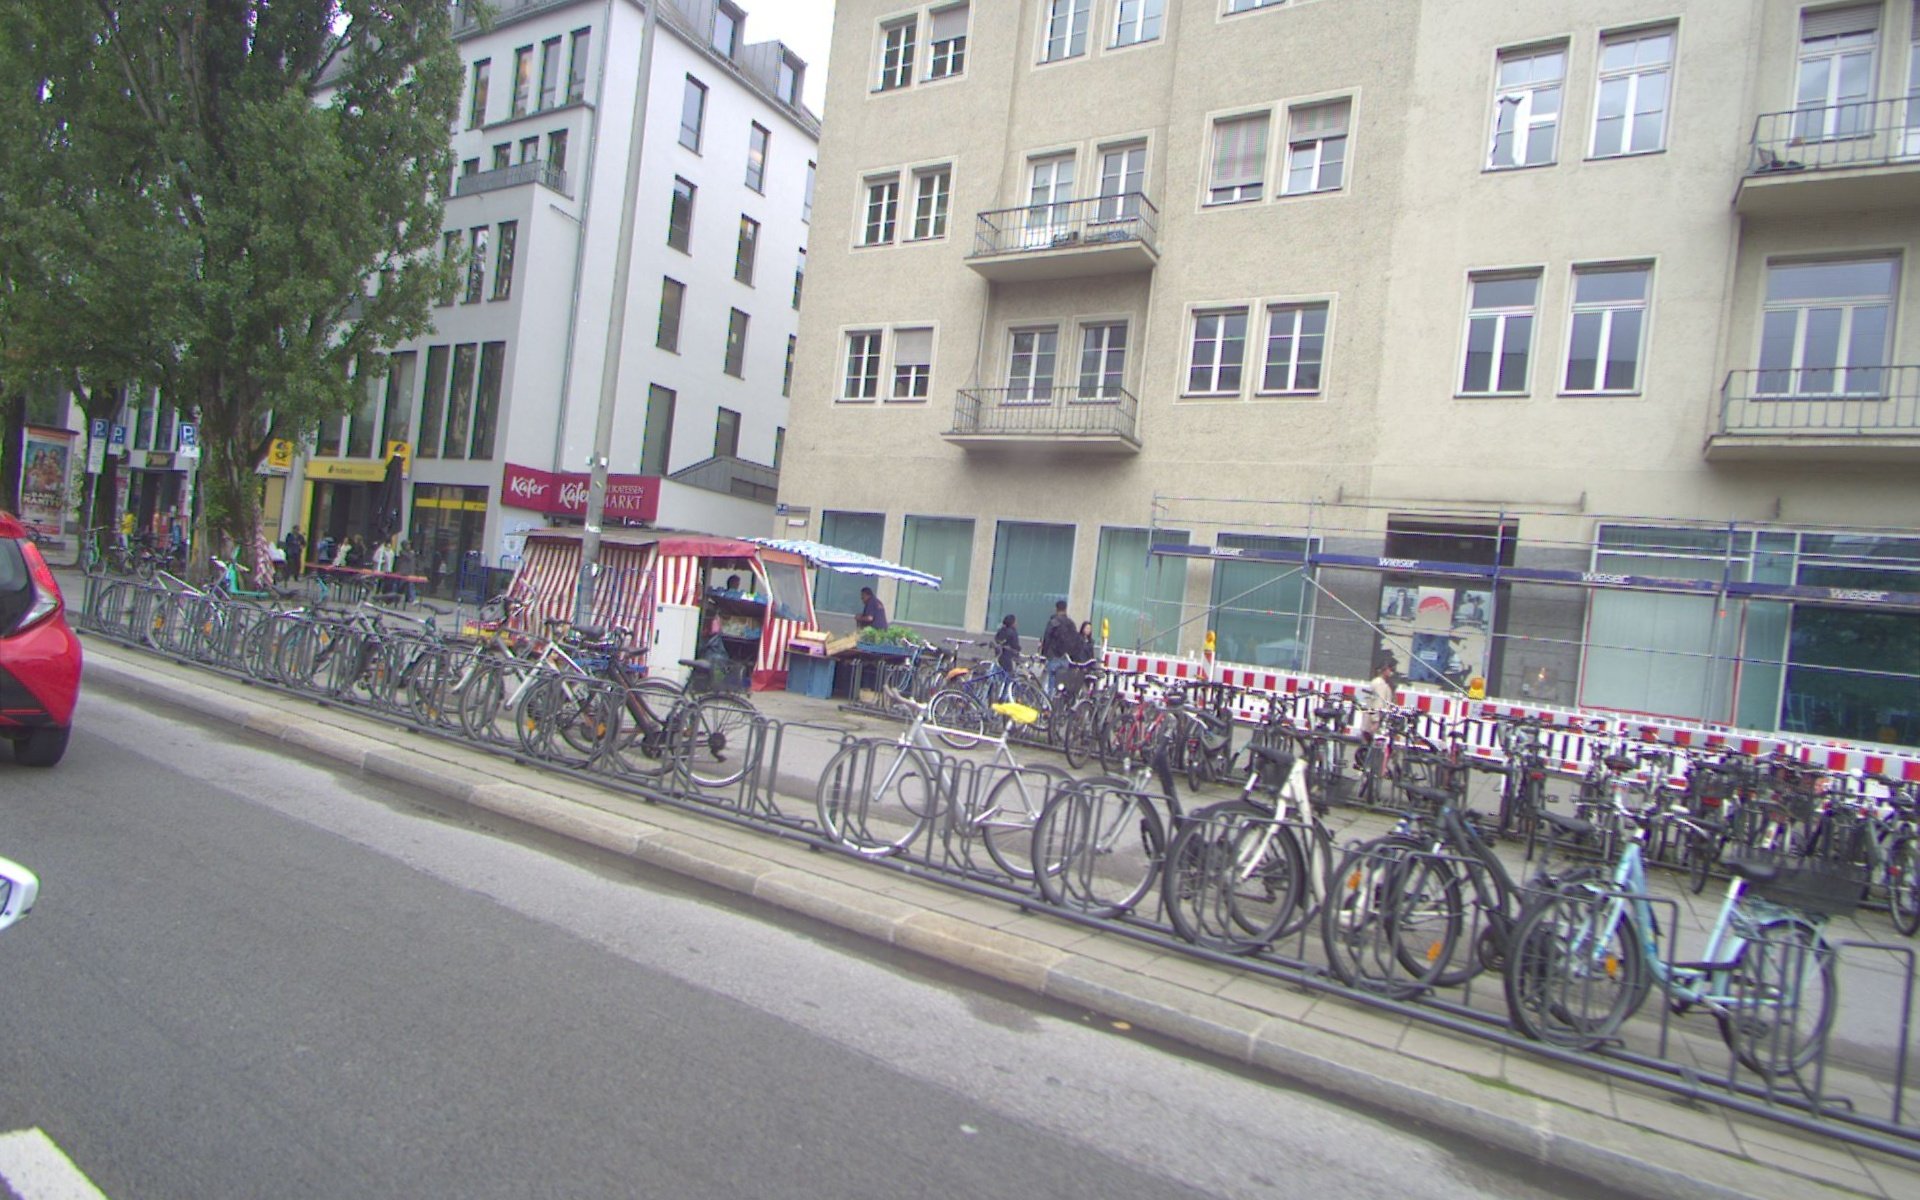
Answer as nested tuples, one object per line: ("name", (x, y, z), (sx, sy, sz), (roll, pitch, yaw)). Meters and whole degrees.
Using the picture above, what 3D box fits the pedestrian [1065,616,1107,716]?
("pedestrian", (2.238, 1.165, 17.830), (0.463, 1.692, 0.527), (6, -1, 18))

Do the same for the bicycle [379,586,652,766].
("bicycle", (-3.466, 0.607, 7.995), (1.778, 1.117, 0.544), (11, -2, -20))

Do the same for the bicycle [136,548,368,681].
("bicycle", (-7.395, 0.172, 10.605), (1.778, 1.065, 0.544), (11, -2, -20))

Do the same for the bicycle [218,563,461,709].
("bicycle", (-5.812, 0.356, 9.519), (1.778, 1.065, 0.366), (11, -2, -20))

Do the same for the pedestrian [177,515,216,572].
("pedestrian", (-24.787, -1.829, 32.669), (0.711, 1.746, 0.736), (6, 1, -21))

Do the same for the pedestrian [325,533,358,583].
("pedestrian", (-20.700, -1.402, 33.670), (0.761, 1.554, 0.701), (5, 1, -40))

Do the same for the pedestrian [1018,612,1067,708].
("pedestrian", (1.531, 1.104, 18.558), (0.498, 1.693, 0.538), (6, -2, 42))

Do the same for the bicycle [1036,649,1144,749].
("bicycle", (1.620, 1.203, 12.340), (0.404, 1.117, 1.626), (7, 1, 40))

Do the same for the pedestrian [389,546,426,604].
("pedestrian", (-15.293, -0.680, 27.854), (0.640, 1.493, 0.757), (7, -1, -20))

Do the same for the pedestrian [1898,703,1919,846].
("pedestrian", (11.643, 2.084, 11.714), (0.821, 1.652, 0.563), (7, 1, 35))

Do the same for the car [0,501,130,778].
("car", (-6.724, 0.043, 6.048), (3.539, 1.463, 1.667), (5, -2, 35))

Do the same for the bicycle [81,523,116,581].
("bicycle", (-19.184, -1.093, 22.396), (0.476, 1.174, 1.804), (7, 0, -41))

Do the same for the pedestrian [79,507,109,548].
("pedestrian", (-36.198, -3.016, 42.053), (0.664, 1.596, 0.565), (6, 1, 9))

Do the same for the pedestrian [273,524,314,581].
("pedestrian", (-20.944, -1.499, 31.623), (0.785, 1.669, 0.691), (7, 1, 32))

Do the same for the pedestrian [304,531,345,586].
("pedestrian", (-19.787, -1.285, 31.333), (0.760, 1.604, 0.691), (7, 1, 32))

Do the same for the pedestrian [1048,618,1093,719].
("pedestrian", (1.832, 1.116, 16.700), (0.543, 1.584, 0.654), (6, 0, 4))

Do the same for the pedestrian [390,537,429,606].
("pedestrian", (-14.490, -0.741, 26.481), (0.588, 1.723, 0.579), (7, 1, 40))

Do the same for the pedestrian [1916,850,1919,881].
("pedestrian", (9.711, 1.882, 9.378), (0.693, 1.730, 0.739), (6, 1, -9))

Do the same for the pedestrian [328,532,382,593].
("pedestrian", (-17.872, -1.096, 29.718), (1.005, 1.657, 0.802), (7, 0, 23))

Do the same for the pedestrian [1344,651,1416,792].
("pedestrian", (5.063, 1.443, 12.171), (0.526, 1.602, 0.662), (7, 0, 13))

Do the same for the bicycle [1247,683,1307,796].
("bicycle", (3.535, 1.506, 11.168), (0.403, 1.091, 1.452), (6, 0, 23))

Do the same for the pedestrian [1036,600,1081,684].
("pedestrian", (2.002, 0.852, 20.472), (0.598, 1.623, 0.465), (7, 1, 29))

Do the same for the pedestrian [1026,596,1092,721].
("pedestrian", (1.570, 0.909, 15.888), (0.716, 1.851, 0.718), (7, 1, 17))

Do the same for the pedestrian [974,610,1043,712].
("pedestrian", (0.788, 0.994, 16.322), (0.718, 1.547, 0.677), (7, 1, 33))

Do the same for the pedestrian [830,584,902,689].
("pedestrian", (-1.608, 0.629, 17.259), (0.717, 1.694, 0.794), (7, 1, 31))

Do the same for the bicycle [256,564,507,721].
("bicycle", (-5.226, 0.402, 9.215), (1.778, 1.117, 0.544), (11, -2, -20))

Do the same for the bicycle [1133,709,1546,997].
("bicycle", (1.824, 1.211, 4.820), (1.825, 1.070, 0.396), (11, -2, -13))

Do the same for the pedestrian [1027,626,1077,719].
("pedestrian", (1.758, 1.378, 19.328), (0.750, 1.671, 0.603), (6, 1, 4))

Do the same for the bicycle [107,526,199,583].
("bicycle", (-19.925, -1.118, 24.864), (0.696, 1.174, 1.624), (7, -1, 45))

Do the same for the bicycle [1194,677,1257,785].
("bicycle", (3.087, 1.470, 11.624), (0.403, 1.091, 1.452), (6, 0, 23))

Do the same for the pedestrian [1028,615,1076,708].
("pedestrian", (1.608, 1.081, 17.537), (0.458, 1.558, 0.560), (6, -1, 32))

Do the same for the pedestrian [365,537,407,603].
("pedestrian", (-14.724, -0.764, 25.809), (0.626, 1.603, 0.641), (7, 1, 40))
